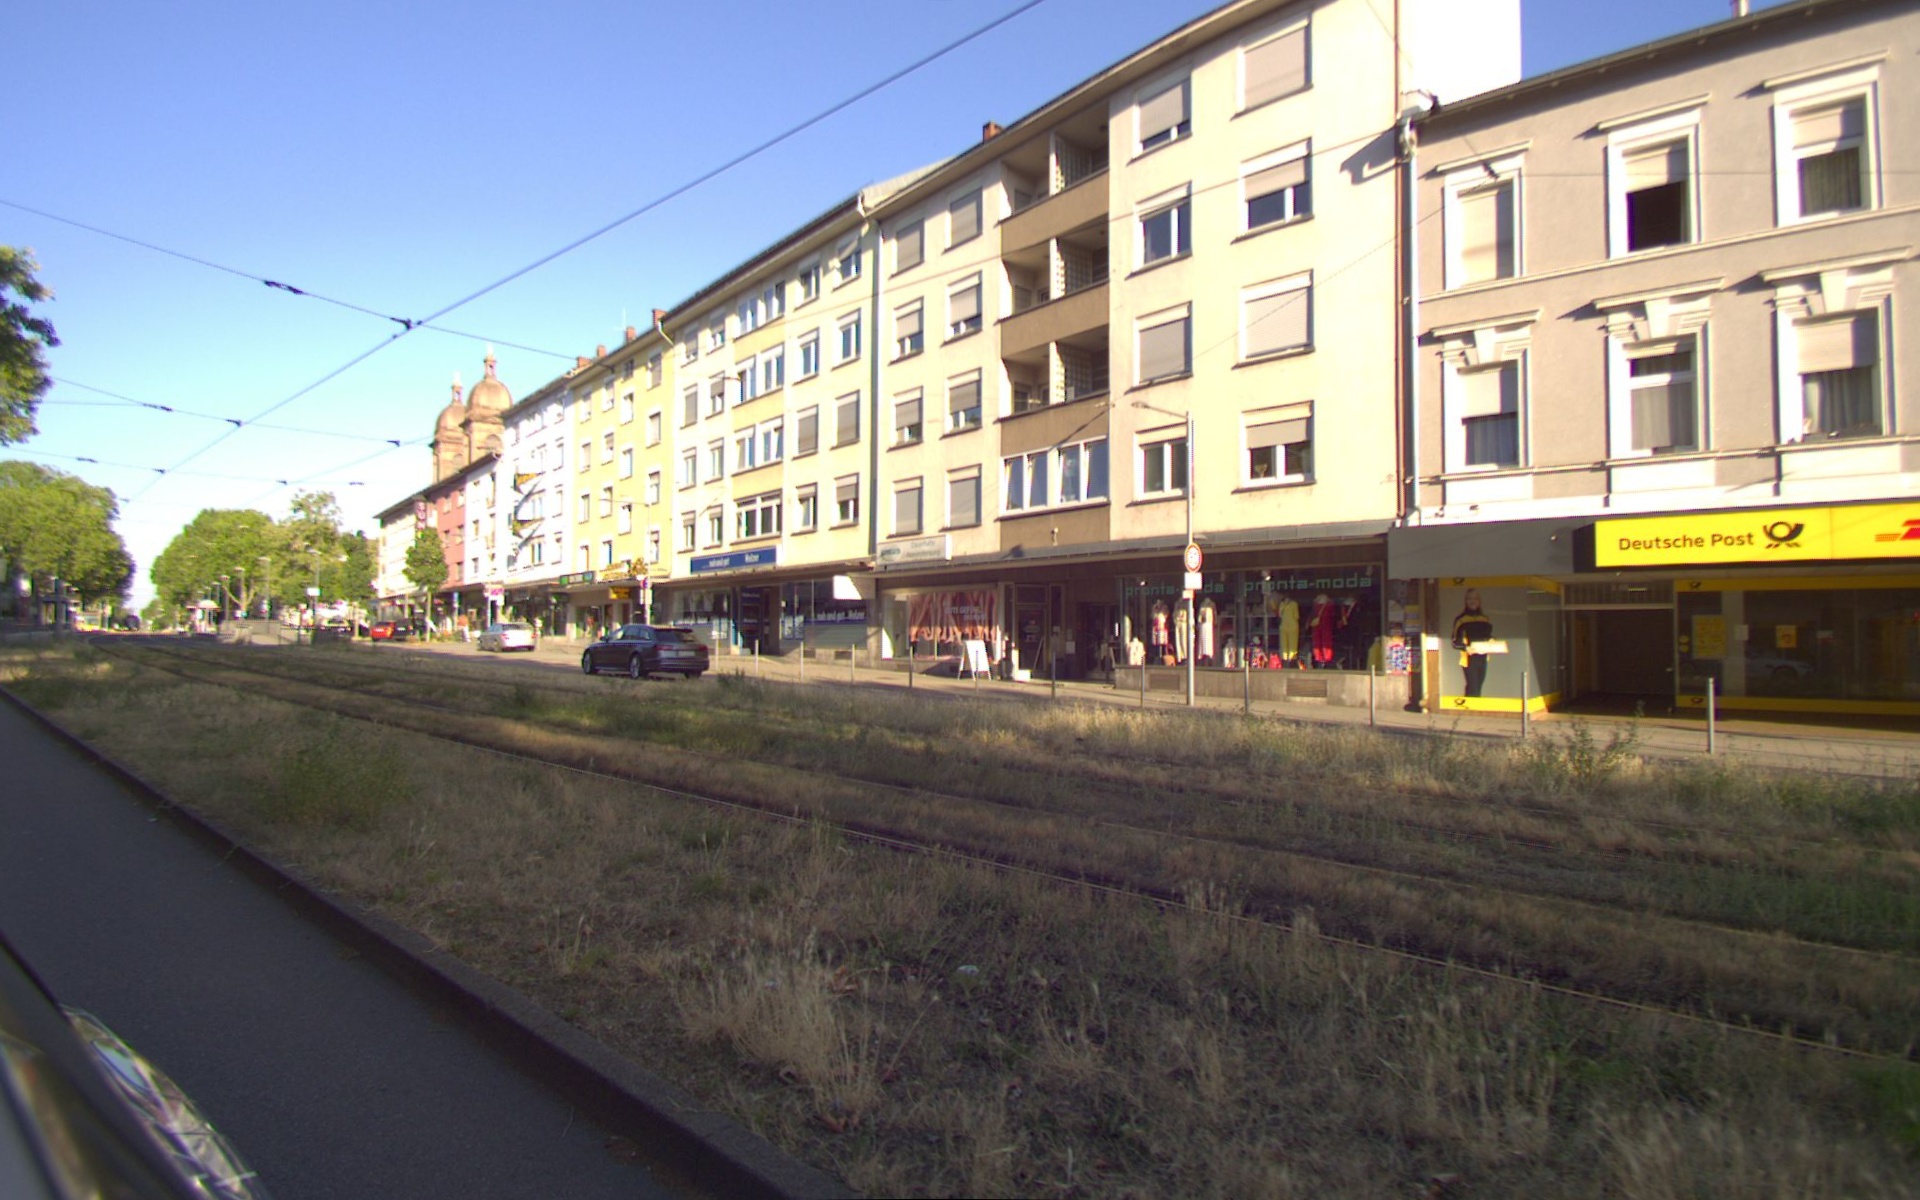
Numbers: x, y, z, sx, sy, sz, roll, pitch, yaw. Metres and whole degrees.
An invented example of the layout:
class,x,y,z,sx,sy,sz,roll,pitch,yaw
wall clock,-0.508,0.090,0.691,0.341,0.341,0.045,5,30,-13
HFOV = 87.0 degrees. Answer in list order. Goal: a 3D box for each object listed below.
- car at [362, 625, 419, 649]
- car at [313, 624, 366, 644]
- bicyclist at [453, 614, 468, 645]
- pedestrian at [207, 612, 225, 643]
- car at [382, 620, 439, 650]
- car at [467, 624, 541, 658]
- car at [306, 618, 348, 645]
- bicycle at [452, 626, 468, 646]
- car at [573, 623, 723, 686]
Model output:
class,x,y,z,sx,sy,sz,roll,pitch,yaw
car,-39.040,2.527,69.488,1.837,1.502,3.771,-1,0,-2
car,-52.240,2.880,85.260,1.846,1.541,3.994,-1,0,5
bicyclist,-30.198,1.784,61.199,0.683,1.901,1.061,1,-2,-31
pedestrian,-45.149,1.653,61.395,0.590,1.863,0.733,-2,-3,45
car,-36.821,2.318,67.883,1.837,1.813,3.771,-1,0,-2
car,-22.112,1.944,49.033,1.970,1.489,4.415,0,-1,-43
car,-36.228,1.801,57.878,1.700,1.520,3.483,2,-2,-37
bicycle,-30.405,2.160,61.520,0.696,1.168,2.205,1,-1,-32
car,-8.671,1.438,27.869,1.970,1.571,4.778,2,-2,-44
